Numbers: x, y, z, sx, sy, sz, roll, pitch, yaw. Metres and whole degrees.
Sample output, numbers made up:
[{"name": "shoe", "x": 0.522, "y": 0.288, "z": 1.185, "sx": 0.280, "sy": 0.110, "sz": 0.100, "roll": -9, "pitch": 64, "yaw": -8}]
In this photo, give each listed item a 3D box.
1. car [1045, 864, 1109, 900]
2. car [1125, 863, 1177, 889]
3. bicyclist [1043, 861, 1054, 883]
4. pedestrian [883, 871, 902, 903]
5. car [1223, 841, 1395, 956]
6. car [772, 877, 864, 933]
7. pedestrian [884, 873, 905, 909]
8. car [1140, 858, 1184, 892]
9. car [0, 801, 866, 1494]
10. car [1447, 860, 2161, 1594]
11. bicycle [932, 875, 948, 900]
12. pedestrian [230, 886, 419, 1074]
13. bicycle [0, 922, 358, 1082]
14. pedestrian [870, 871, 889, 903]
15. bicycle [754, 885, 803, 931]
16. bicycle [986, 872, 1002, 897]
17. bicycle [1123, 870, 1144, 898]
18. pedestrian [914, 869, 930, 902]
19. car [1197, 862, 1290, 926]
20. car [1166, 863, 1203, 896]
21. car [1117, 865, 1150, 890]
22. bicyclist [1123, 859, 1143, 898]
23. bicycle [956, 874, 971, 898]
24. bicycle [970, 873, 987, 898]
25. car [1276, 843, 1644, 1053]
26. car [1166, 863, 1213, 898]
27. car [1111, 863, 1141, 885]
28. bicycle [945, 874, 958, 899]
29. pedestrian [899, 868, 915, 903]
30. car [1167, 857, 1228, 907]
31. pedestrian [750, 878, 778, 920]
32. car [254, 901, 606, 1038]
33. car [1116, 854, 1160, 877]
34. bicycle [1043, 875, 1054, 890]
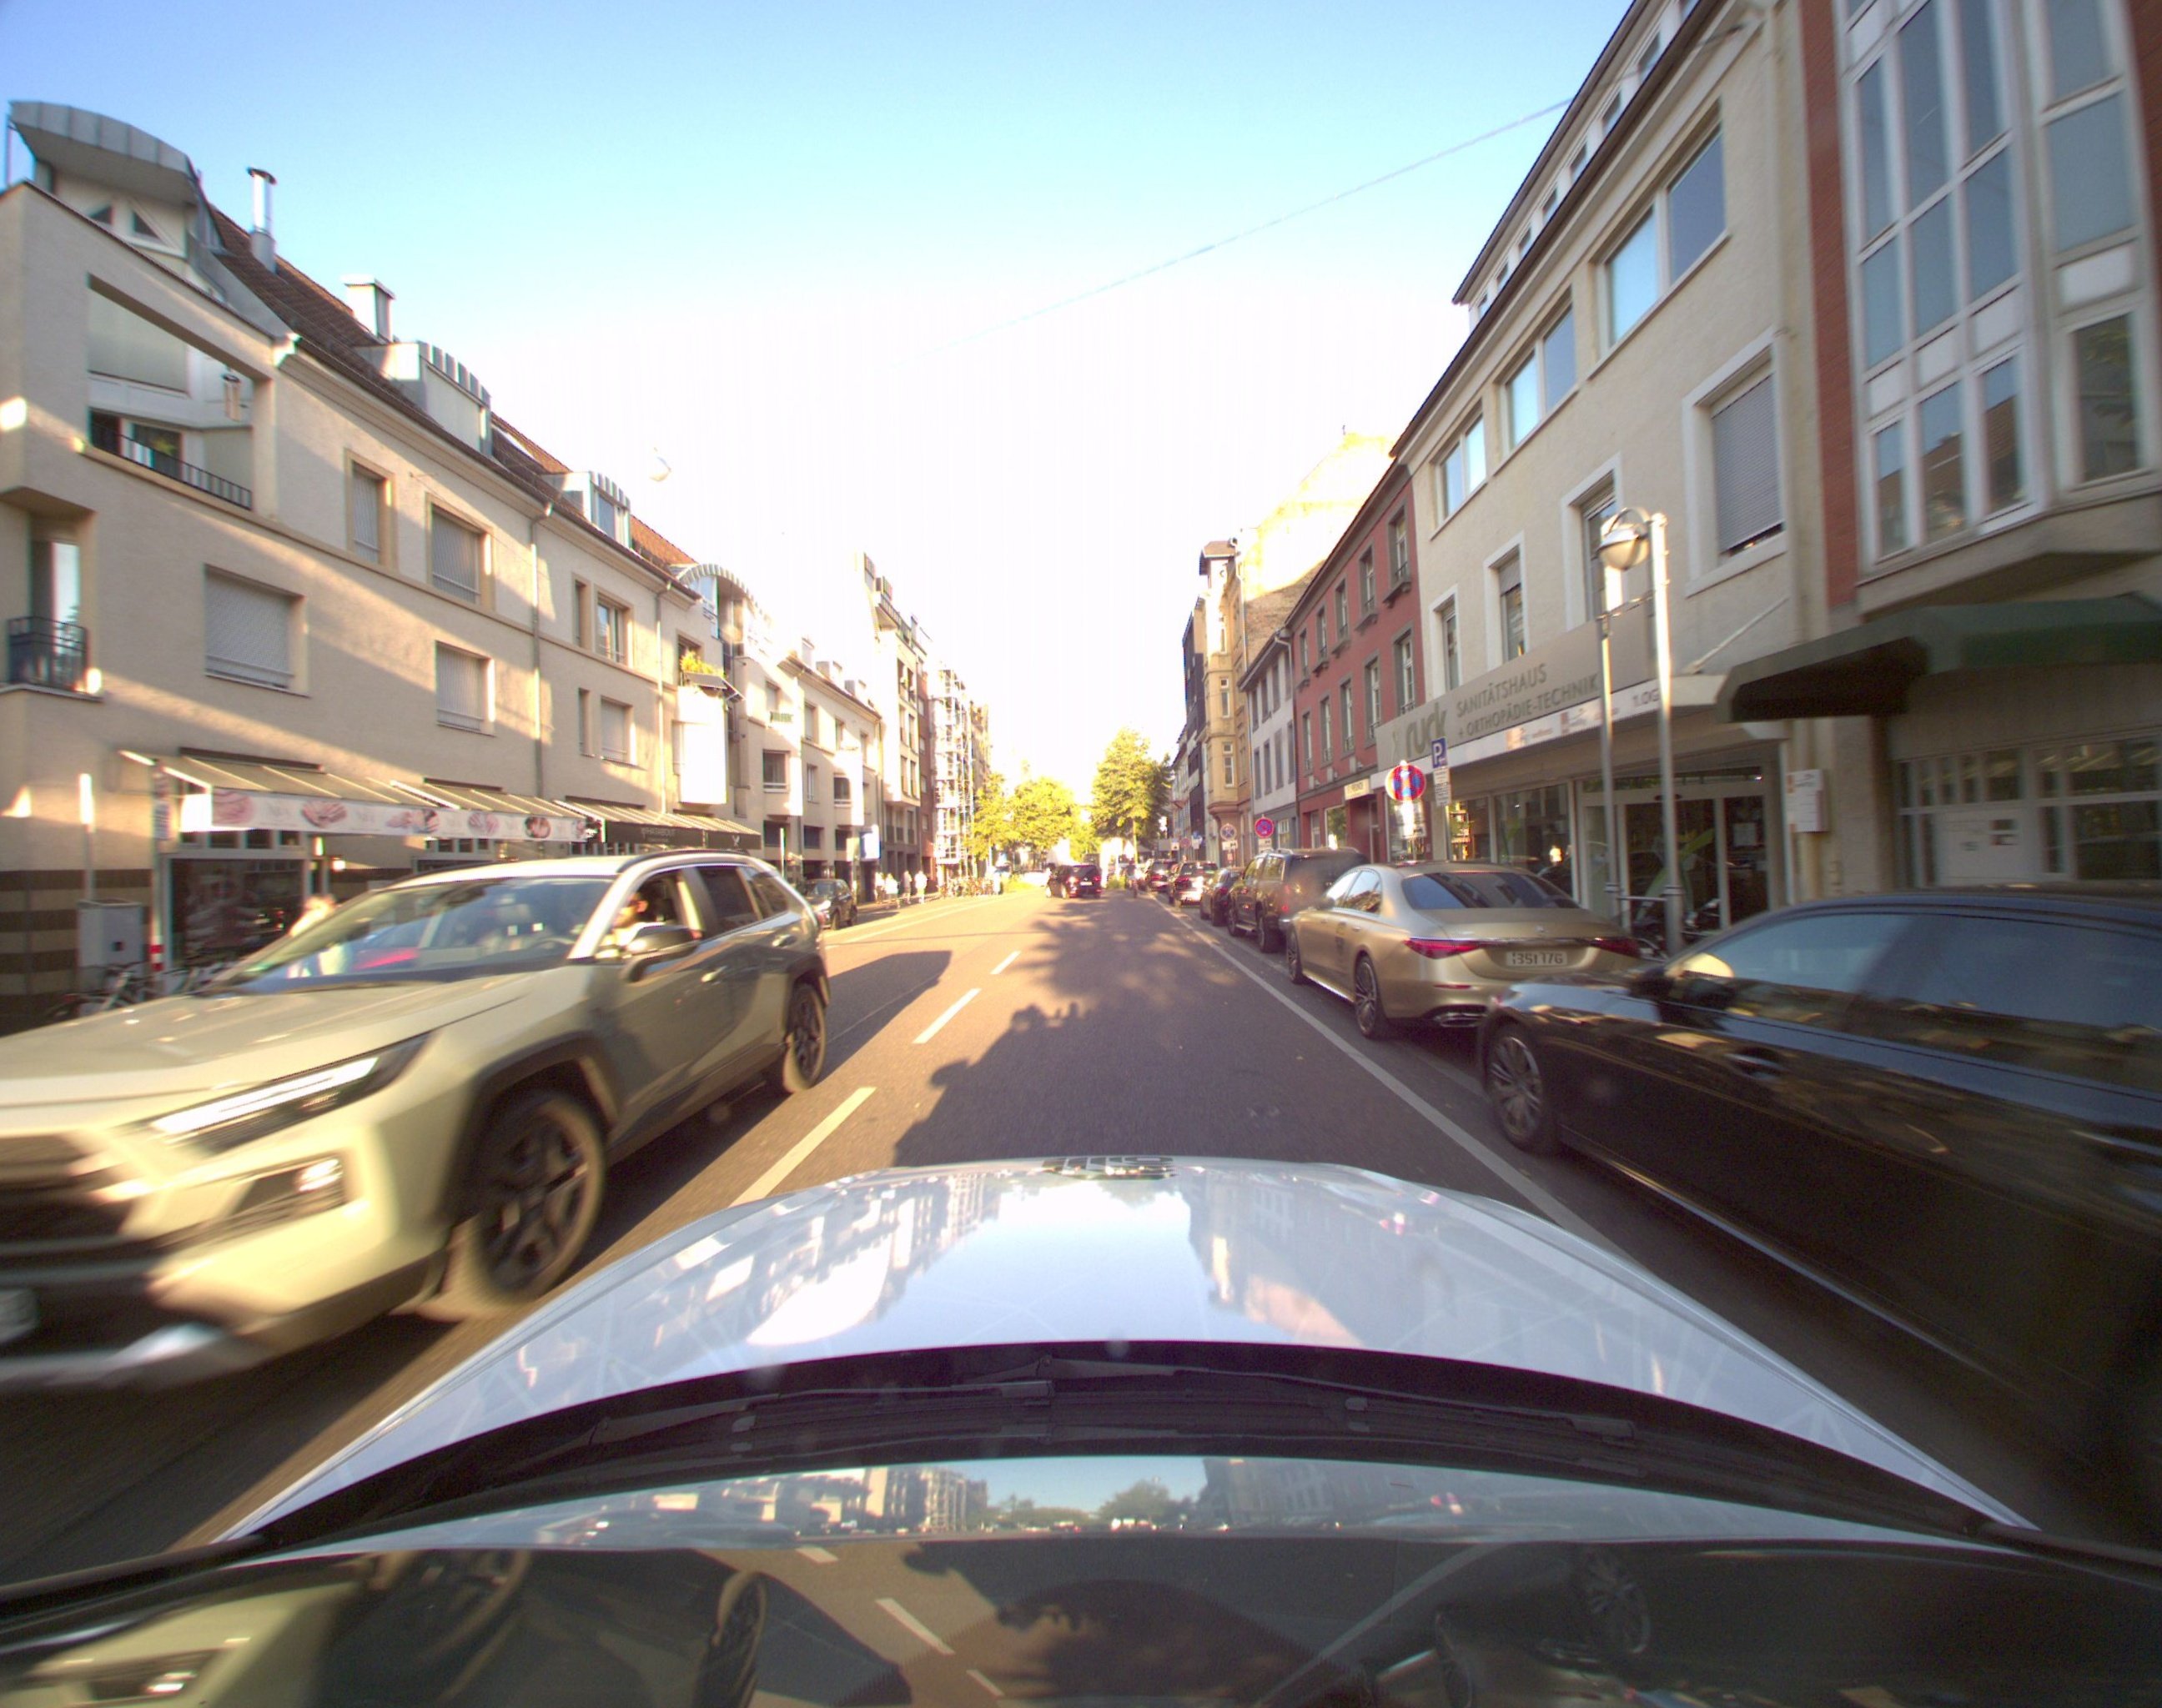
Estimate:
[{"name": "car", "x": -0.275, "y": 1.330, "z": 39.009, "sx": 1.997, "sy": 1.602, "sz": 4.485, "roll": -1, "pitch": -1, "yaw": -15}, {"name": "car", "x": 4.178, "y": 1.321, "z": 49.155, "sx": 2.961, "sy": 1.536, "sz": 1.432, "roll": -1, "pitch": -1, "yaw": -2}, {"name": "bicyclist", "x": -2.791, "y": 1.528, "z": 69.394, "sx": 0.778, "sy": 1.829, "sz": 1.007, "roll": -3, "pitch": -2, "yaw": 0}, {"name": "pedestrian", "x": -9.869, "y": 1.700, "z": 42.572, "sx": 0.713, "sy": 1.642, "sz": 0.856, "roll": -1, "pitch": -2, "yaw": 6}, {"name": "car", "x": 3.977, "y": 0.746, "z": 15.183, "sx": 1.876, "sy": 1.754, "sz": 5.059, "roll": -1, "pitch": -1, "yaw": 1}, {"name": "car", "x": -8.109, "y": 1.534, "z": 25.390, "sx": 1.786, "sy": 1.535, "sz": 3.188, "roll": -2, "pitch": -1, "yaw": -1}, {"name": "pedestrian", "x": -8.678, "y": 1.723, "z": 37.920, "sx": 0.714, "sy": 1.642, "sz": 0.951, "roll": -1, "pitch": -2, "yaw": -1}, {"name": "car", "x": 4.278, "y": 1.137, "z": 43.556, "sx": 1.819, "sy": 1.695, "sz": 4.366, "roll": -1, "pitch": -1, "yaw": -1}, {"name": "car", "x": -2.825, "y": 0.801, "z": 4.371, "sx": 1.934, "sy": 1.645, "sz": 4.738, "roll": -3, "pitch": -1, "yaw": 1}, {"name": "car", "x": 3.036, "y": 0.751, "z": 2.648, "sx": 1.746, "sy": 1.420, "sz": 4.510, "roll": -1, "pitch": 0, "yaw": 1}, {"name": "bicycle", "x": -8.274, "y": 1.954, "z": 47.829, "sx": 0.720, "sy": 1.396, "sz": 3.146, "roll": -1, "pitch": -1, "yaw": -6}, {"name": "pedestrian", "x": -7.521, "y": 1.205, "z": 8.143, "sx": 0.896, "sy": 1.676, "sz": 0.998, "roll": -3, "pitch": 1, "yaw": 19}, {"name": "bicycle", "x": -10.086, "y": 1.525, "z": 9.233, "sx": 0.955, "sy": 1.300, "sz": 3.126, "roll": -1, "pitch": -1, "yaw": 0}, {"name": "pedestrian", "x": -10.562, "y": 1.731, "z": 42.705, "sx": 0.713, "sy": 1.642, "sz": 0.856, "roll": -1, "pitch": -2, "yaw": 6}, {"name": "bicycle", "x": -9.687, "y": 1.712, "z": 26.184, "sx": 0.608, "sy": 1.375, "sz": 2.359, "roll": -1, "pitch": -1, "yaw": 2}, {"name": "bicycle", "x": -5.168, "y": 1.789, "z": 48.252, "sx": 0.843, "sy": 1.351, "sz": 3.179, "roll": -2, "pitch": -1, "yaw": -6}, {"name": "bicycle", "x": 2.383, "y": 1.368, "z": 37.201, "sx": 0.778, "sy": 1.204, "sz": 2.020, "roll": -3, "pitch": -1, "yaw": 0}, {"name": "pedestrian", "x": -8.412, "y": 1.661, "z": 43.157, "sx": 0.716, "sy": 1.740, "sz": 0.737, "roll": -1, "pitch": -2, "yaw": -6}, {"name": "car", "x": 4.163, "y": 1.006, "z": 21.501, "sx": 1.755, "sy": 1.484, "sz": 4.309, "roll": -1, "pitch": -1, "yaw": 3}, {"name": "car", "x": 4.900, "y": 1.193, "z": 38.897, "sx": 1.580, "sy": 1.484, "sz": 3.269, "roll": -1, "pitch": -1, "yaw": 4}, {"name": "car", "x": 3.707, "y": 1.644, "z": 58.093, "sx": 1.988, "sy": 1.668, "sz": 4.507, "roll": -1, "pitch": -1, "yaw": -1}, {"name": "bicyclist", "x": 2.363, "y": 1.116, "z": 37.086, "sx": 0.778, "sy": 1.696, "sz": 1.007, "roll": -3, "pitch": -2, "yaw": 0}, {"name": "bicycle", "x": -6.909, "y": 1.876, "z": 48.022, "sx": 0.780, "sy": 1.373, "sz": 3.135, "roll": -1, "pitch": -1, "yaw": -6}, {"name": "bicycle", "x": -6.058, "y": 1.847, "z": 48.138, "sx": 0.892, "sy": 1.396, "sz": 3.159, "roll": -2, "pitch": -1, "yaw": -6}, {"name": "car", "x": 3.381, "y": 0.752, "z": 8.510, "sx": 1.804, "sy": 1.527, "sz": 4.998, "roll": -1, "pitch": -1, "yaw": 4}, {"name": "car", "x": 4.620, "y": 1.129, "z": 34.955, "sx": 1.660, "sy": 1.378, "sz": 3.805, "roll": -1, "pitch": -1, "yaw": 3}, {"name": "car", "x": 3.891, "y": 1.764, "z": 71.223, "sx": 2.258, "sy": 1.766, "sz": 4.507, "roll": 4, "pitch": -1, "yaw": -1}, {"name": "bicycle", "x": -7.603, "y": 1.902, "z": 47.920, "sx": 0.584, "sy": 1.396, "sz": 3.153, "roll": -1, "pitch": -1, "yaw": -6}, {"name": "pedestrian", "x": -9.158, "y": 1.655, "z": 42.869, "sx": 0.716, "sy": 1.767, "sz": 0.692, "roll": -1, "pitch": -2, "yaw": -6}, {"name": "car", "x": 4.224, "y": 0.997, "z": 29.999, "sx": 1.804, "sy": 1.668, "sz": 4.208, "roll": -1, "pitch": -1, "yaw": 3}, {"name": "pedestrian", "x": -12.297, "y": 1.740, "z": 31.602, "sx": 0.713, "sy": 1.616, "sz": 0.856, "roll": -1, "pitch": -2, "yaw": 4}, {"name": "car", "x": -8.595, "y": 1.438, "z": 11.280, "sx": 1.654, "sy": 1.403, "sz": 3.885, "roll": -1, "pitch": -1, "yaw": 2}, {"name": "car", "x": 5.346, "y": 1.068, "z": 76.698, "sx": 3.967, "sy": 2.014, "sz": 2.003, "roll": -2, "pitch": -1, "yaw": 6}, {"name": "bicycle", "x": -2.743, "y": 2.401, "z": 69.269, "sx": 0.778, "sy": 1.204, "sz": 2.020, "roll": -3, "pitch": -1, "yaw": 0}]
